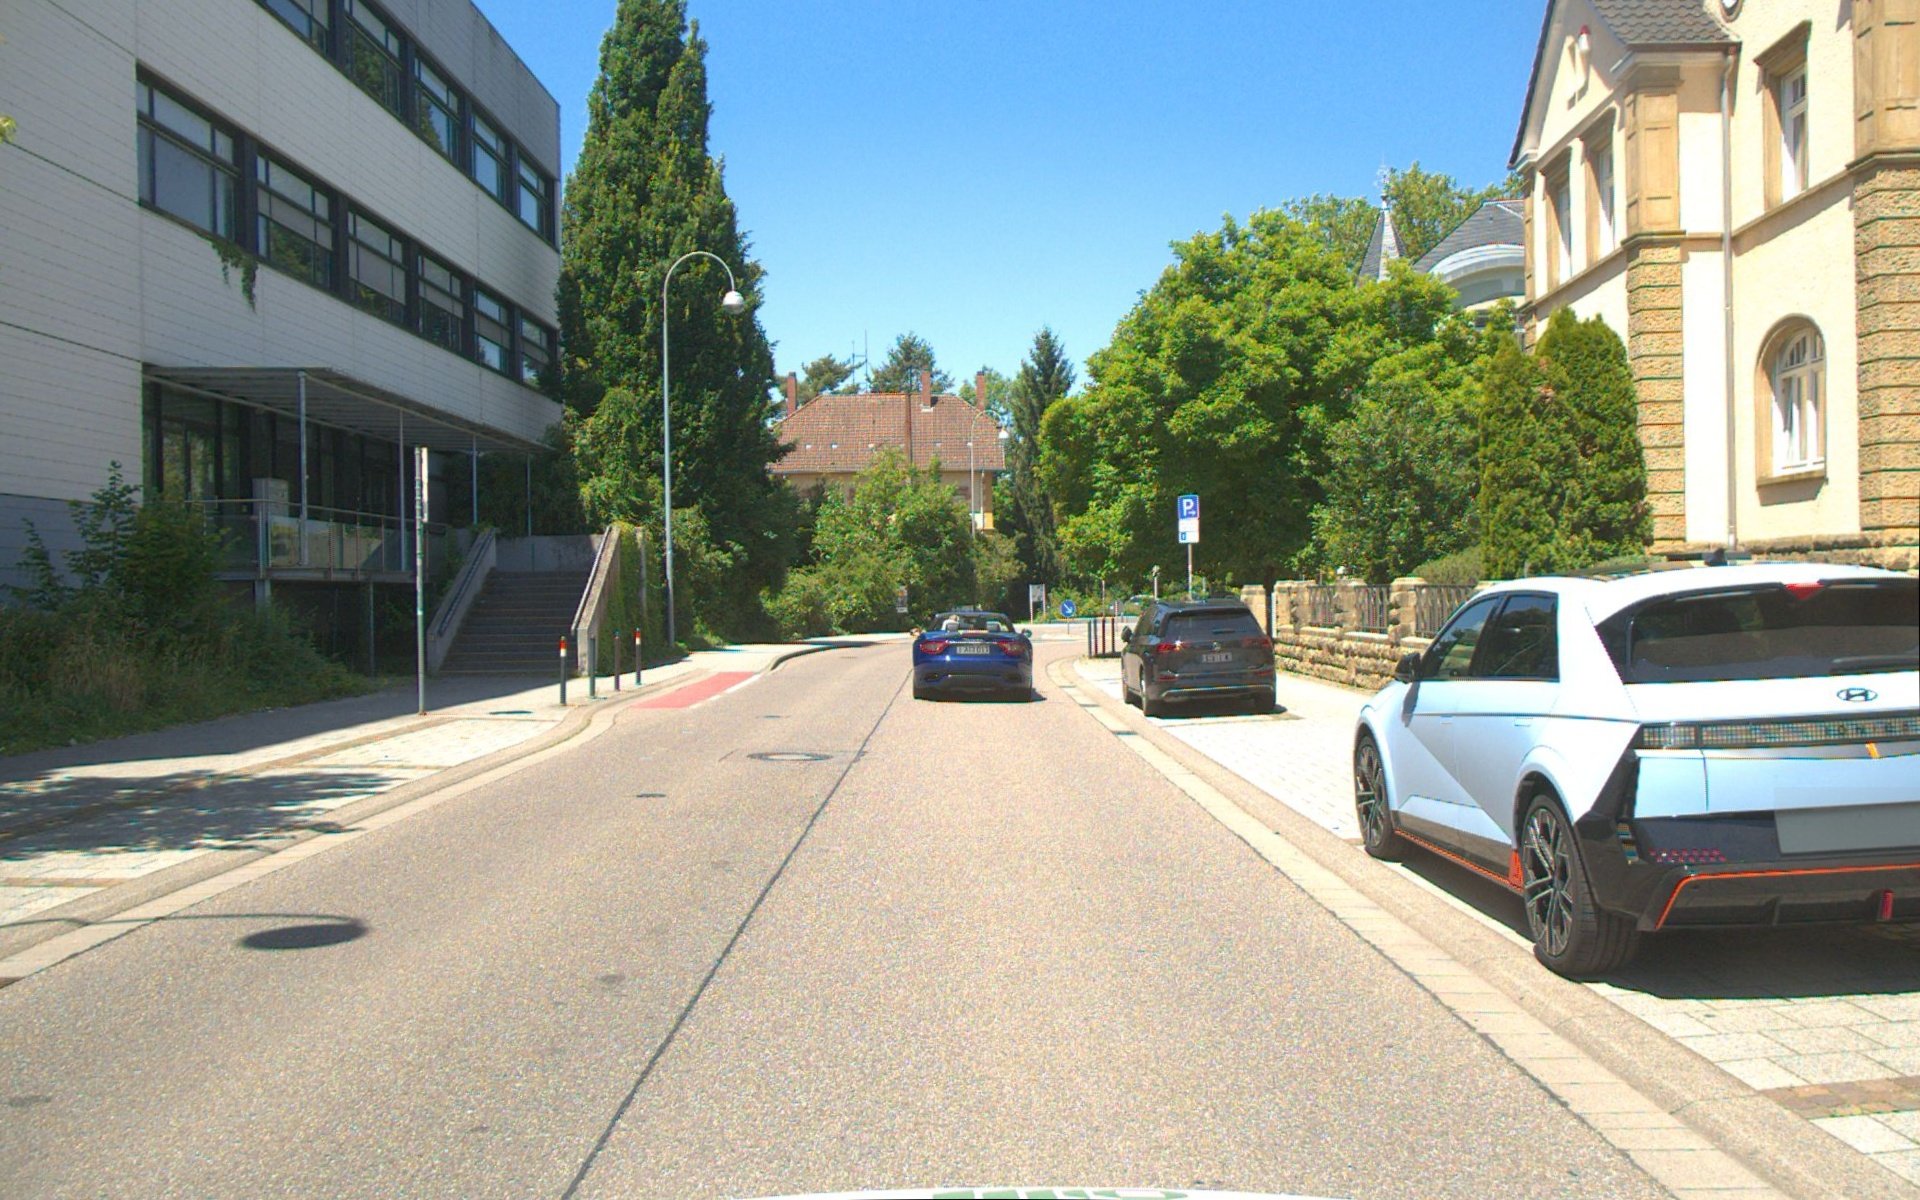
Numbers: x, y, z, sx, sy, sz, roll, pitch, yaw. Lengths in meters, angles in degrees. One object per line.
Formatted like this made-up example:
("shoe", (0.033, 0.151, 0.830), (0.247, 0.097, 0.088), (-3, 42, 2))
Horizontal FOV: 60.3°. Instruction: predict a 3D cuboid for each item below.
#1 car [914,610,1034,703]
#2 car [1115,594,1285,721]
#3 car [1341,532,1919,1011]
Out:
("car", (0.209, 0.859, 27.017), (1.789, 1.360, 4.700), (0, 0, 0))
("car", (3.172, 0.705, 22.671), (1.598, 1.471, 4.397), (-4, 0, 0))
("car", (3.298, 0.587, 8.100), (1.806, 1.647, 4.427), (-3, 0, 0))
